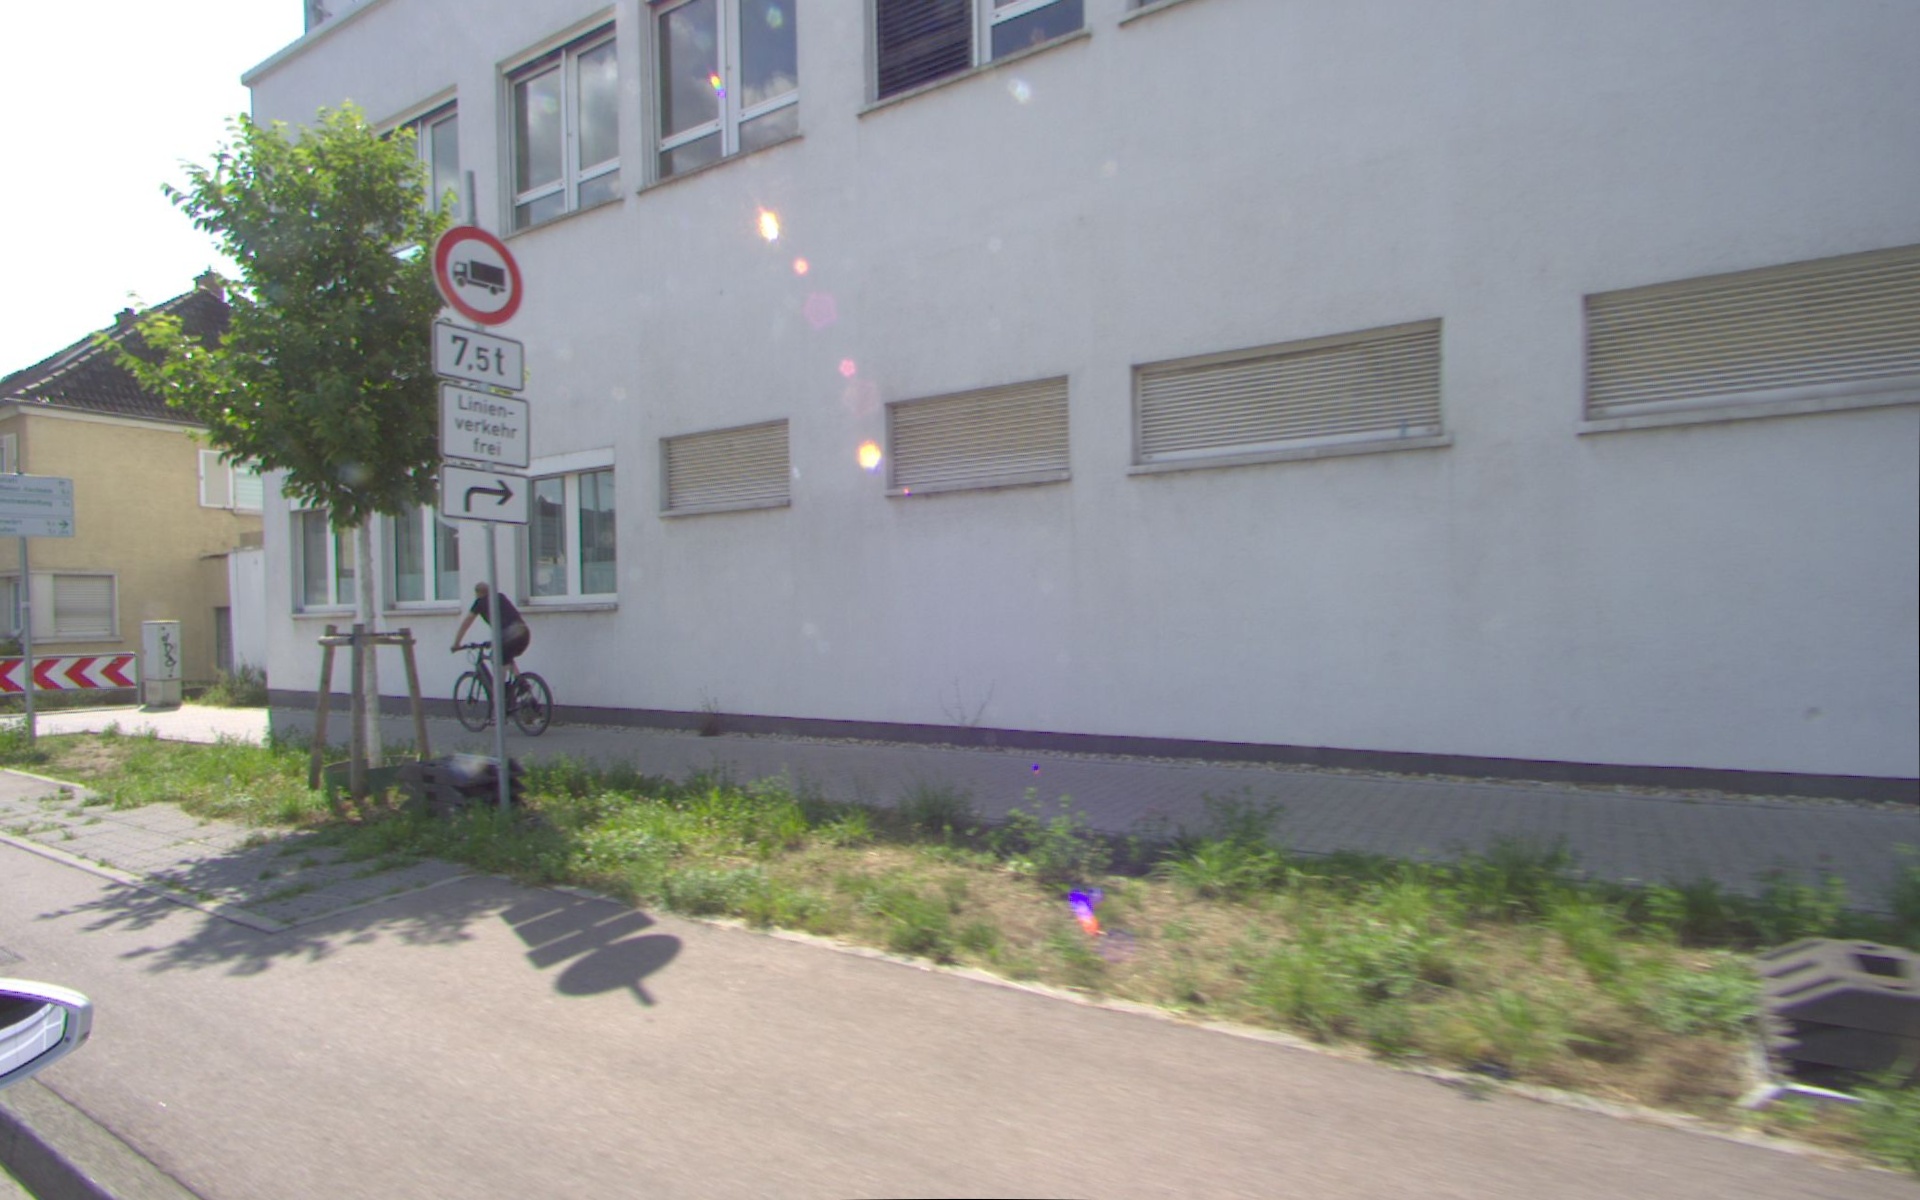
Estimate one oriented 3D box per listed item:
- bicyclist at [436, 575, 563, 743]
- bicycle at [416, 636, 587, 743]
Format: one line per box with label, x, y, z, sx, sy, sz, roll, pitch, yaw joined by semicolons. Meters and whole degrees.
bicyclist;-5.260;0.643;11.445;1.068;1.818;0.826;-1;1;32
bicycle;-5.258;0.977;11.457;1.943;1.090;0.826;-1;1;32
